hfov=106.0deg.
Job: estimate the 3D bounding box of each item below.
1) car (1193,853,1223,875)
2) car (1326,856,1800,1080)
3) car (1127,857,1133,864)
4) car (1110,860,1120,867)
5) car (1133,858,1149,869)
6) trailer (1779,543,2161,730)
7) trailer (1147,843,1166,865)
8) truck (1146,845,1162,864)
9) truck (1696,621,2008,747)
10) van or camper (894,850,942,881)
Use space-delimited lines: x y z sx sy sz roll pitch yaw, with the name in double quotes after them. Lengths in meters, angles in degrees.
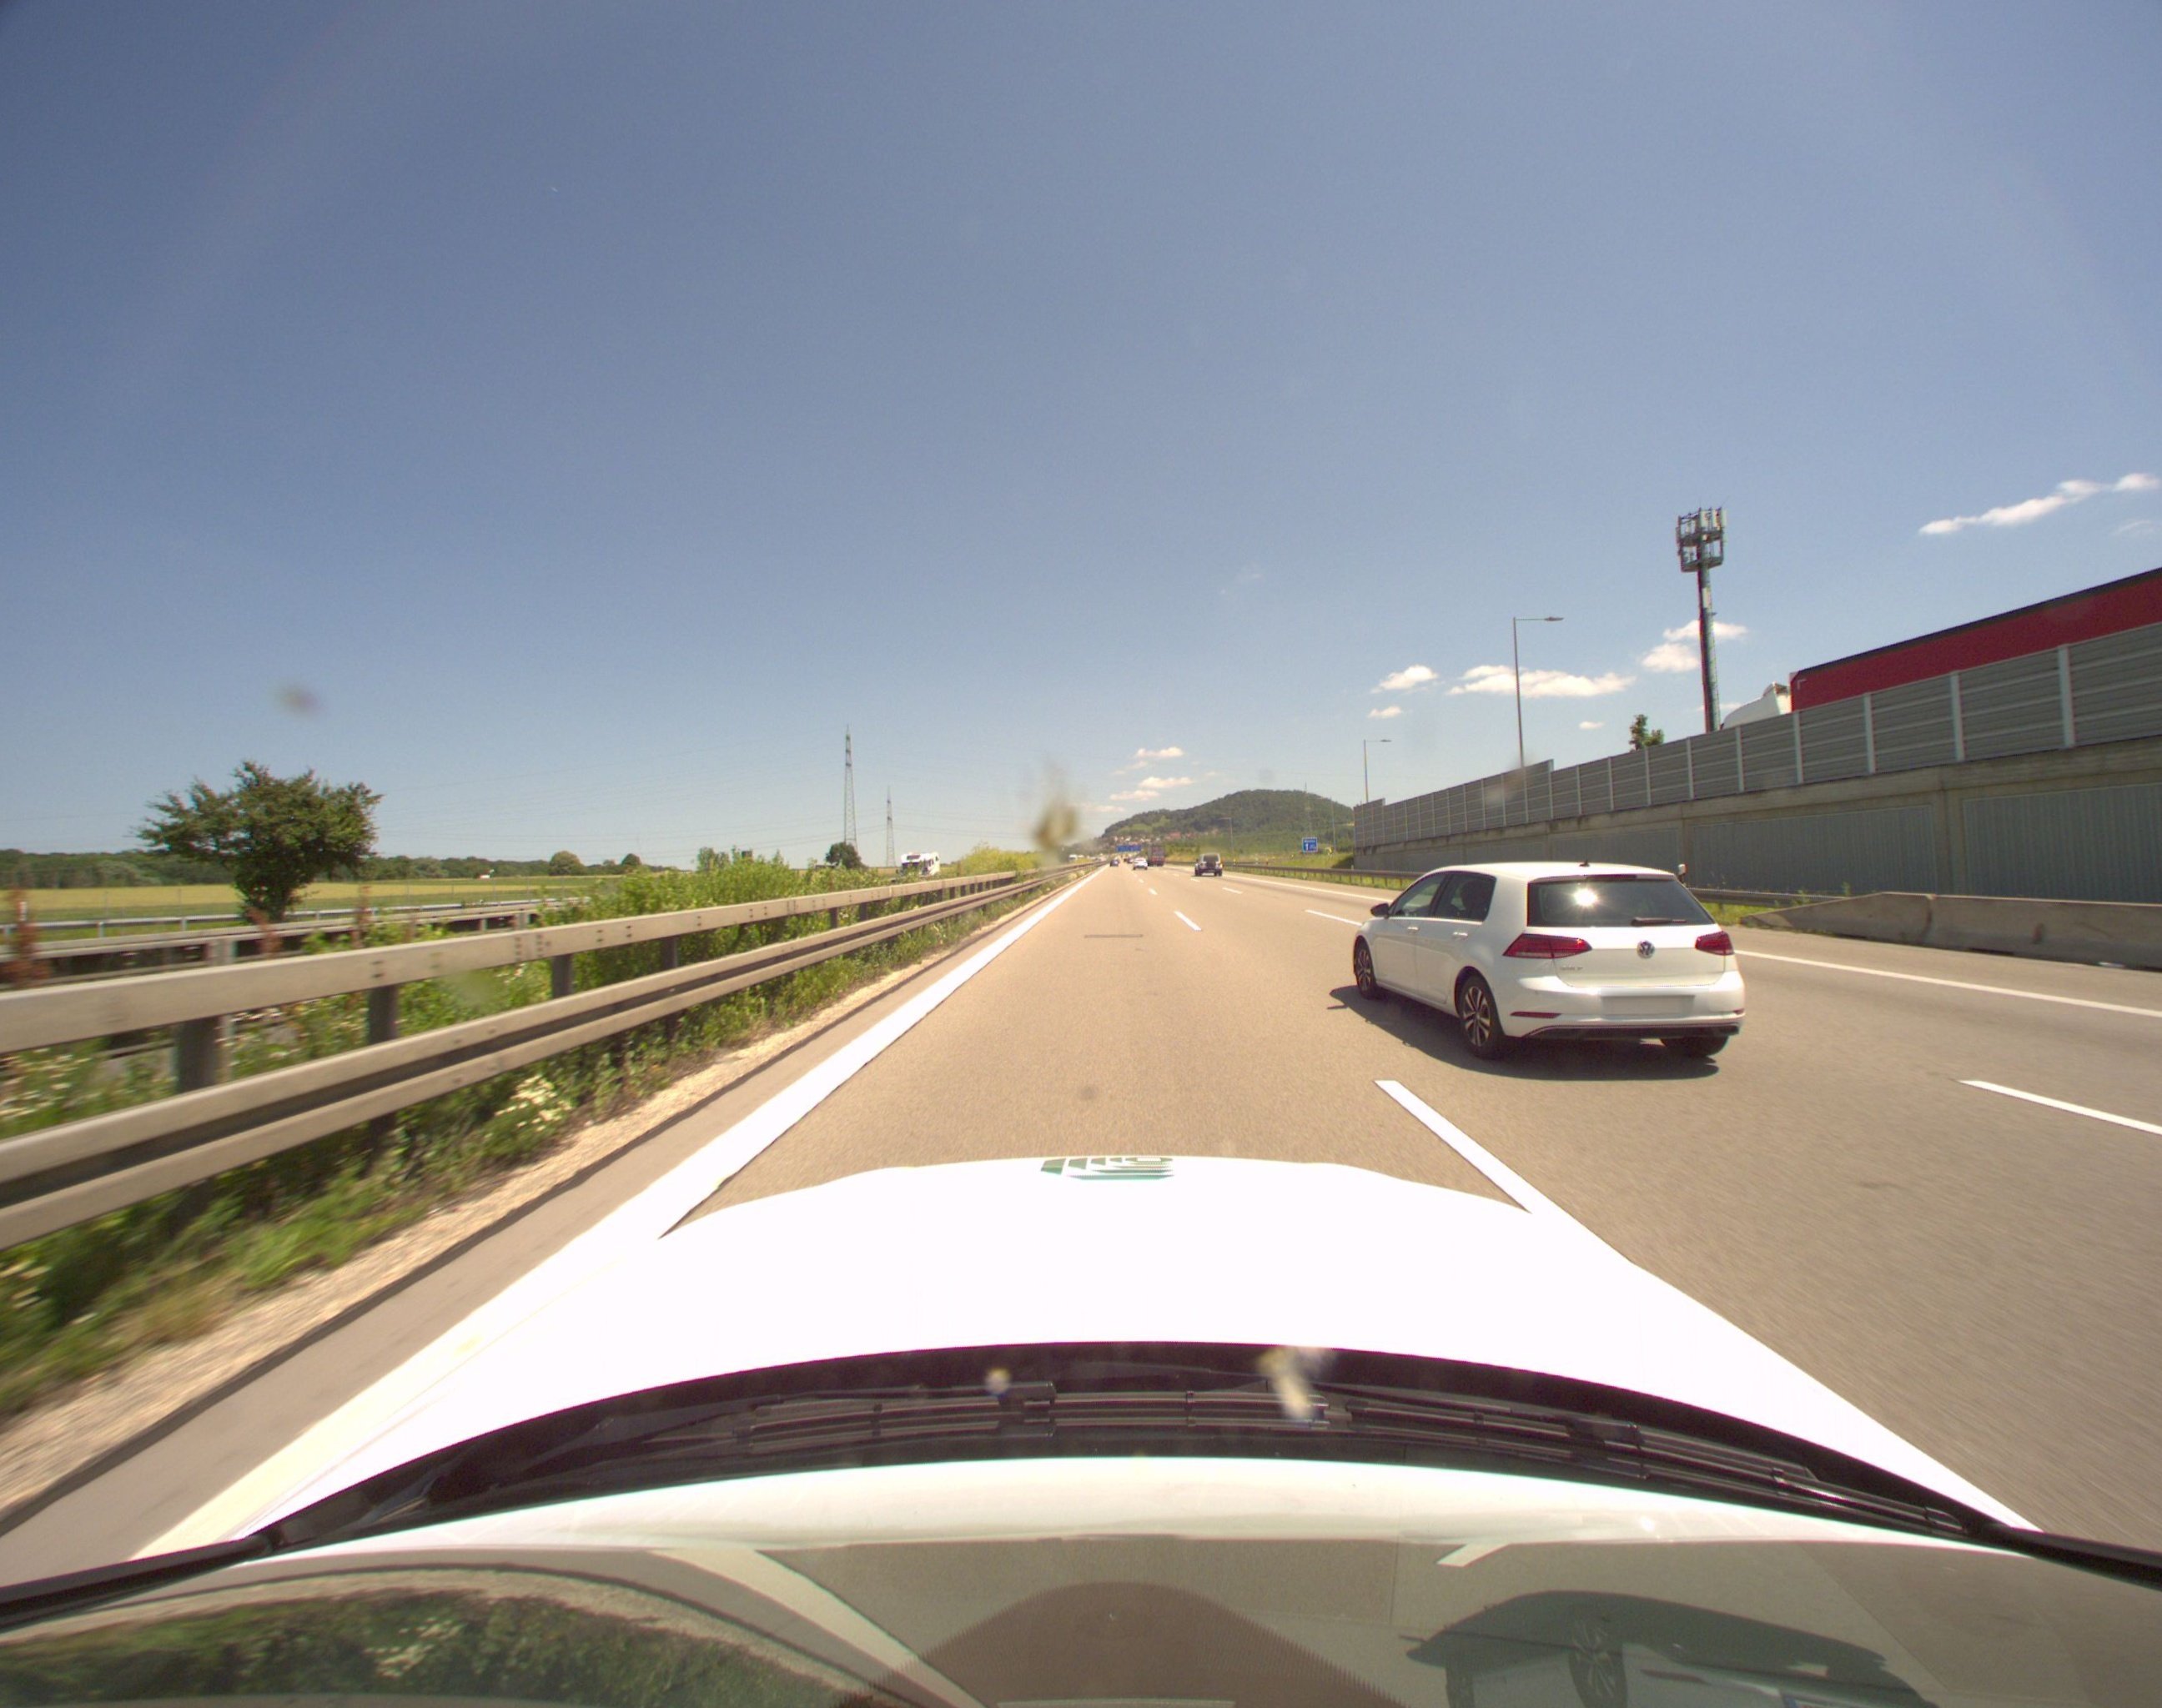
10.612 0.820 68.406 2.027 1.804 4.252 0 -1 2 "car"
3.809 0.771 7.606 1.769 1.433 4.693 0 -1 2 "car"
15.021 1.944 250.600 1.985 2.014 4.003 0 -1 3 "car"
6.762 1.843 162.045 1.985 1.389 4.003 0 -1 3 "car"
8.238 1.319 112.304 1.907 1.581 5.233 0 -1 2 "car"
22.812 -5.040 18.096 2.710 2.224 14.020 0 -1 1 "trailer"
15.023 0.009 162.578 2.716 4.155 11.807 0 -1 0 "trailer"
15.082 0.150 169.036 2.743 4.021 6.788 0 -1 0 "truck"
22.897 -4.925 24.934 2.698 2.204 7.287 0 -1 0 "truck"
-13.978 1.054 70.248 2.526 2.536 6.711 -2 -2 2 "van or camper"
